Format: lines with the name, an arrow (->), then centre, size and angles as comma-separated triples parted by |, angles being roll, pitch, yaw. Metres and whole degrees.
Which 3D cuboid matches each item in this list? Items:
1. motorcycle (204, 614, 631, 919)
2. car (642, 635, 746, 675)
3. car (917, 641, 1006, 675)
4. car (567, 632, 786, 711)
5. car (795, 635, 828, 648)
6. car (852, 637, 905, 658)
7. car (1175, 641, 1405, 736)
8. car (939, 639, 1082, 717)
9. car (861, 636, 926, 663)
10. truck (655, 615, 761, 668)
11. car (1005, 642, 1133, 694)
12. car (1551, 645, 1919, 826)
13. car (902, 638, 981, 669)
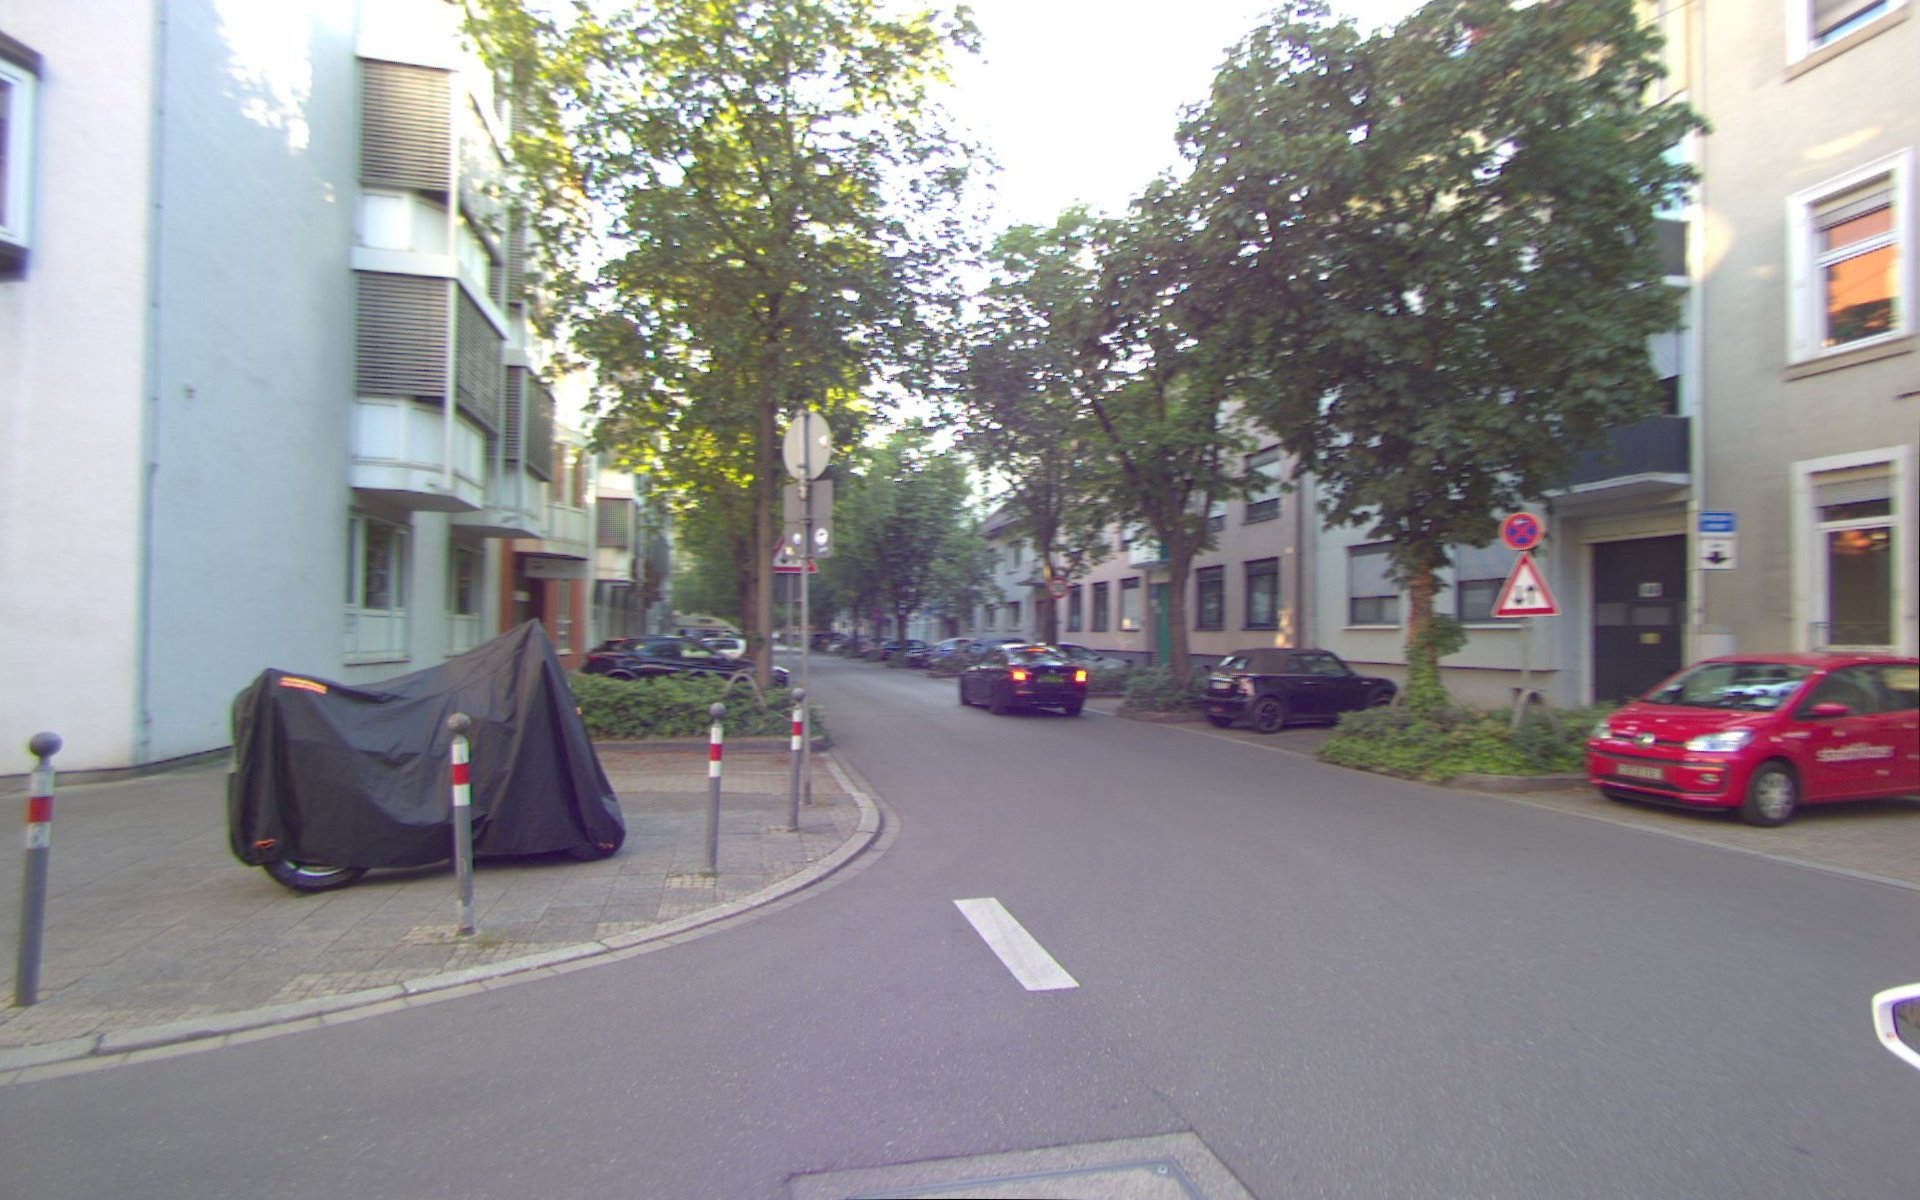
motorcycle -> -3.174, 0.896, 6.070 | 2.139, 1.576, 0.663 | 2, -2, -33
car -> -10.963, 2.271, 41.661 | 4.074, 1.491, 1.636 | 2, -2, -13
car -> 0.060, 2.514, 43.736 | 3.607, 1.411, 1.561 | 1, -2, -14
car -> -5.961, 1.514, 21.526 | 4.295, 1.529, 1.831 | 2, -2, -13
car -> -16.767, 4.662, 113.516 | 3.607, 1.411, 1.561 | 1, -2, -14
car -> -5.842, 3.395, 71.869 | 3.607, 1.411, 1.561 | 1, -2, -14
car -> 5.927, 1.536, 18.122 | 3.655, 1.447, 1.621 | -1, -1, -17
car -> 0.951, 1.591, 21.649 | 1.739, 1.469, 4.654 | 1, -2, -15
car -> -3.921, 2.914, 59.047 | 3.607, 1.556, 1.561 | 1, -2, -14
truck -> -12.463, 2.053, 49.947 | 4.927, 2.473, 1.912 | 2, -1, -11
car -> 3.310, 2.049, 30.709 | 3.607, 1.498, 1.561 | 0, -2, -14
car -> 7.819, 1.197, 9.687 | 3.606, 1.495, 1.561 | 0, -2, -14
car -> -0.956, 2.672, 50.578 | 3.740, 1.550, 1.561 | 0, -2, -14
